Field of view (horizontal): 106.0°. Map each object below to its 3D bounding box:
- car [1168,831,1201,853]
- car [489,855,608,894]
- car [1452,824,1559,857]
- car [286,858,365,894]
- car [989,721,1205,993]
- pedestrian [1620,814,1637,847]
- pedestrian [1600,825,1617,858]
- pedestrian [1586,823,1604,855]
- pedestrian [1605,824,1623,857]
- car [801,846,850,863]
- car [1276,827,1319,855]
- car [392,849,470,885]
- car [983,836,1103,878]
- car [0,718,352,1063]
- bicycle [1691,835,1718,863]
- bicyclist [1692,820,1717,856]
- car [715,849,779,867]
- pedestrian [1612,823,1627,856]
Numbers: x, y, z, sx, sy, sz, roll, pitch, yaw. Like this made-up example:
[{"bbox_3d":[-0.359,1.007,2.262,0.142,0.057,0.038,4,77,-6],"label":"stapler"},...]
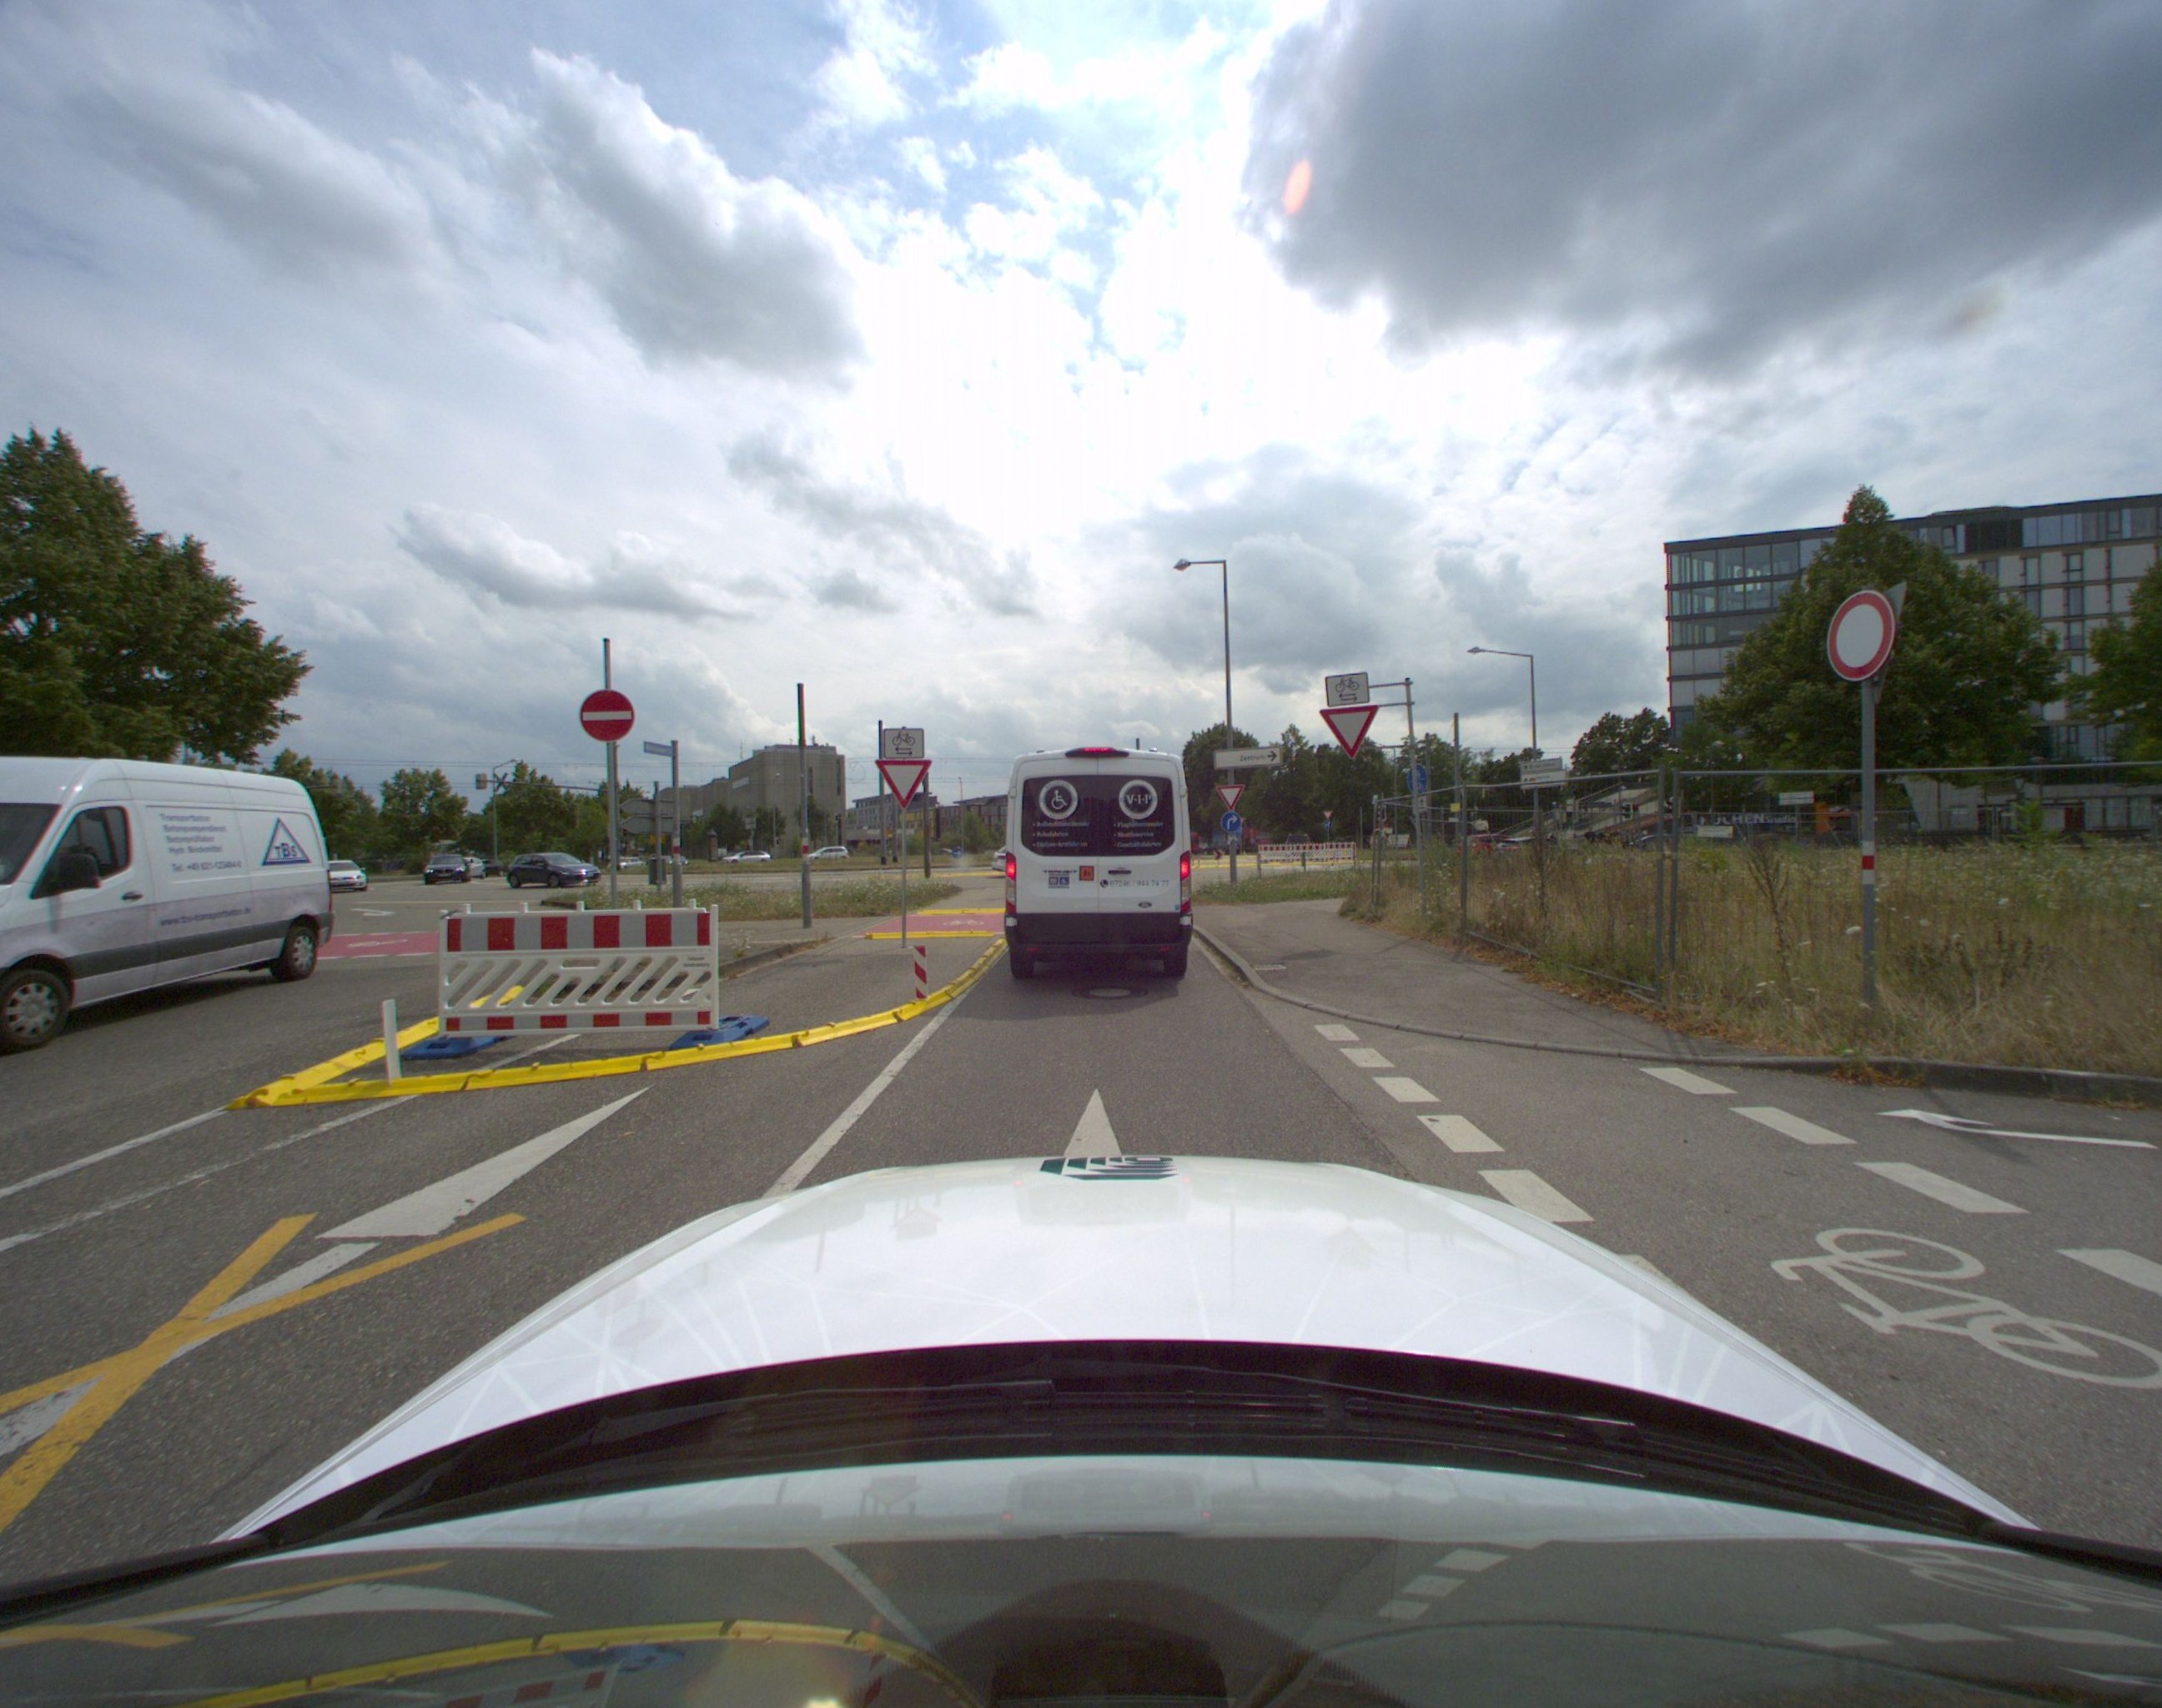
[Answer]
[{"bbox_3d":[11.093,-1.298,87.542,2.030,2.279,4.134,0,-1,-18],"label":"car"},{"bbox_3d":[-22.516,0.861,34.479,4.076,1.497,1.808,-1,1,12],"label":"car"},{"bbox_3d":[22.489,-0.713,43.194,4.732,1.618,1.995,-1,0,-7],"label":"car"},{"bbox_3d":[-34.216,0.972,36.857,4.205,1.497,1.813,-1,1,36],"label":"car"},{"bbox_3d":[0.249,0.000,11.023,2.118,2.697,5.634,-1,1,2],"label":"car"},{"bbox_3d":[30.233,-1.292,44.967,0.575,1.781,0.554,-1,1,8],"label":"pedestrian"},{"bbox_3d":[29.604,-0.705,45.693,0.627,1.781,0.554,-1,1,8],"label":"pedestrian"},{"bbox_3d":[28.850,-0.865,45.702,0.684,1.781,0.554,-1,1,8],"label":"pedestrian"},{"bbox_3d":[29.451,-0.757,44.999,0.684,1.781,0.554,-1,1,8],"label":"pedestrian"},{"bbox_3d":[-25.910,0.021,82.697,4.379,1.665,1.915,-2,1,-42],"label":"car"},{"bbox_3d":[14.910,-0.848,56.277,1.986,1.750,4.000,-1,-1,1],"label":"car"},{"bbox_3d":[-35.258,0.711,44.168,4.199,1.859,1.802,-1,1,29],"label":"car"},{"bbox_3d":[-1.621,0.106,34.909,4.753,1.618,1.987,-2,0,-20],"label":"car"},{"bbox_3d":[-10.176,0.297,8.205,2.071,2.685,5.931,-1,1,-20],"label":"car"},{"bbox_3d":[28.244,-0.235,36.876,0.781,1.168,2.054,-1,1,42],"label":"bicycle"},{"bbox_3d":[28.146,-0.721,36.771,0.781,1.627,1.055,-1,1,42],"label":"bicyclist"},{"bbox_3d":[-31.641,0.348,77.254,5.213,1.482,1.976,-2,1,-42],"label":"car"},{"bbox_3d":[30.245,-0.827,45.746,0.526,1.862,0.554,-1,1,8],"label":"pedestrian"}]
